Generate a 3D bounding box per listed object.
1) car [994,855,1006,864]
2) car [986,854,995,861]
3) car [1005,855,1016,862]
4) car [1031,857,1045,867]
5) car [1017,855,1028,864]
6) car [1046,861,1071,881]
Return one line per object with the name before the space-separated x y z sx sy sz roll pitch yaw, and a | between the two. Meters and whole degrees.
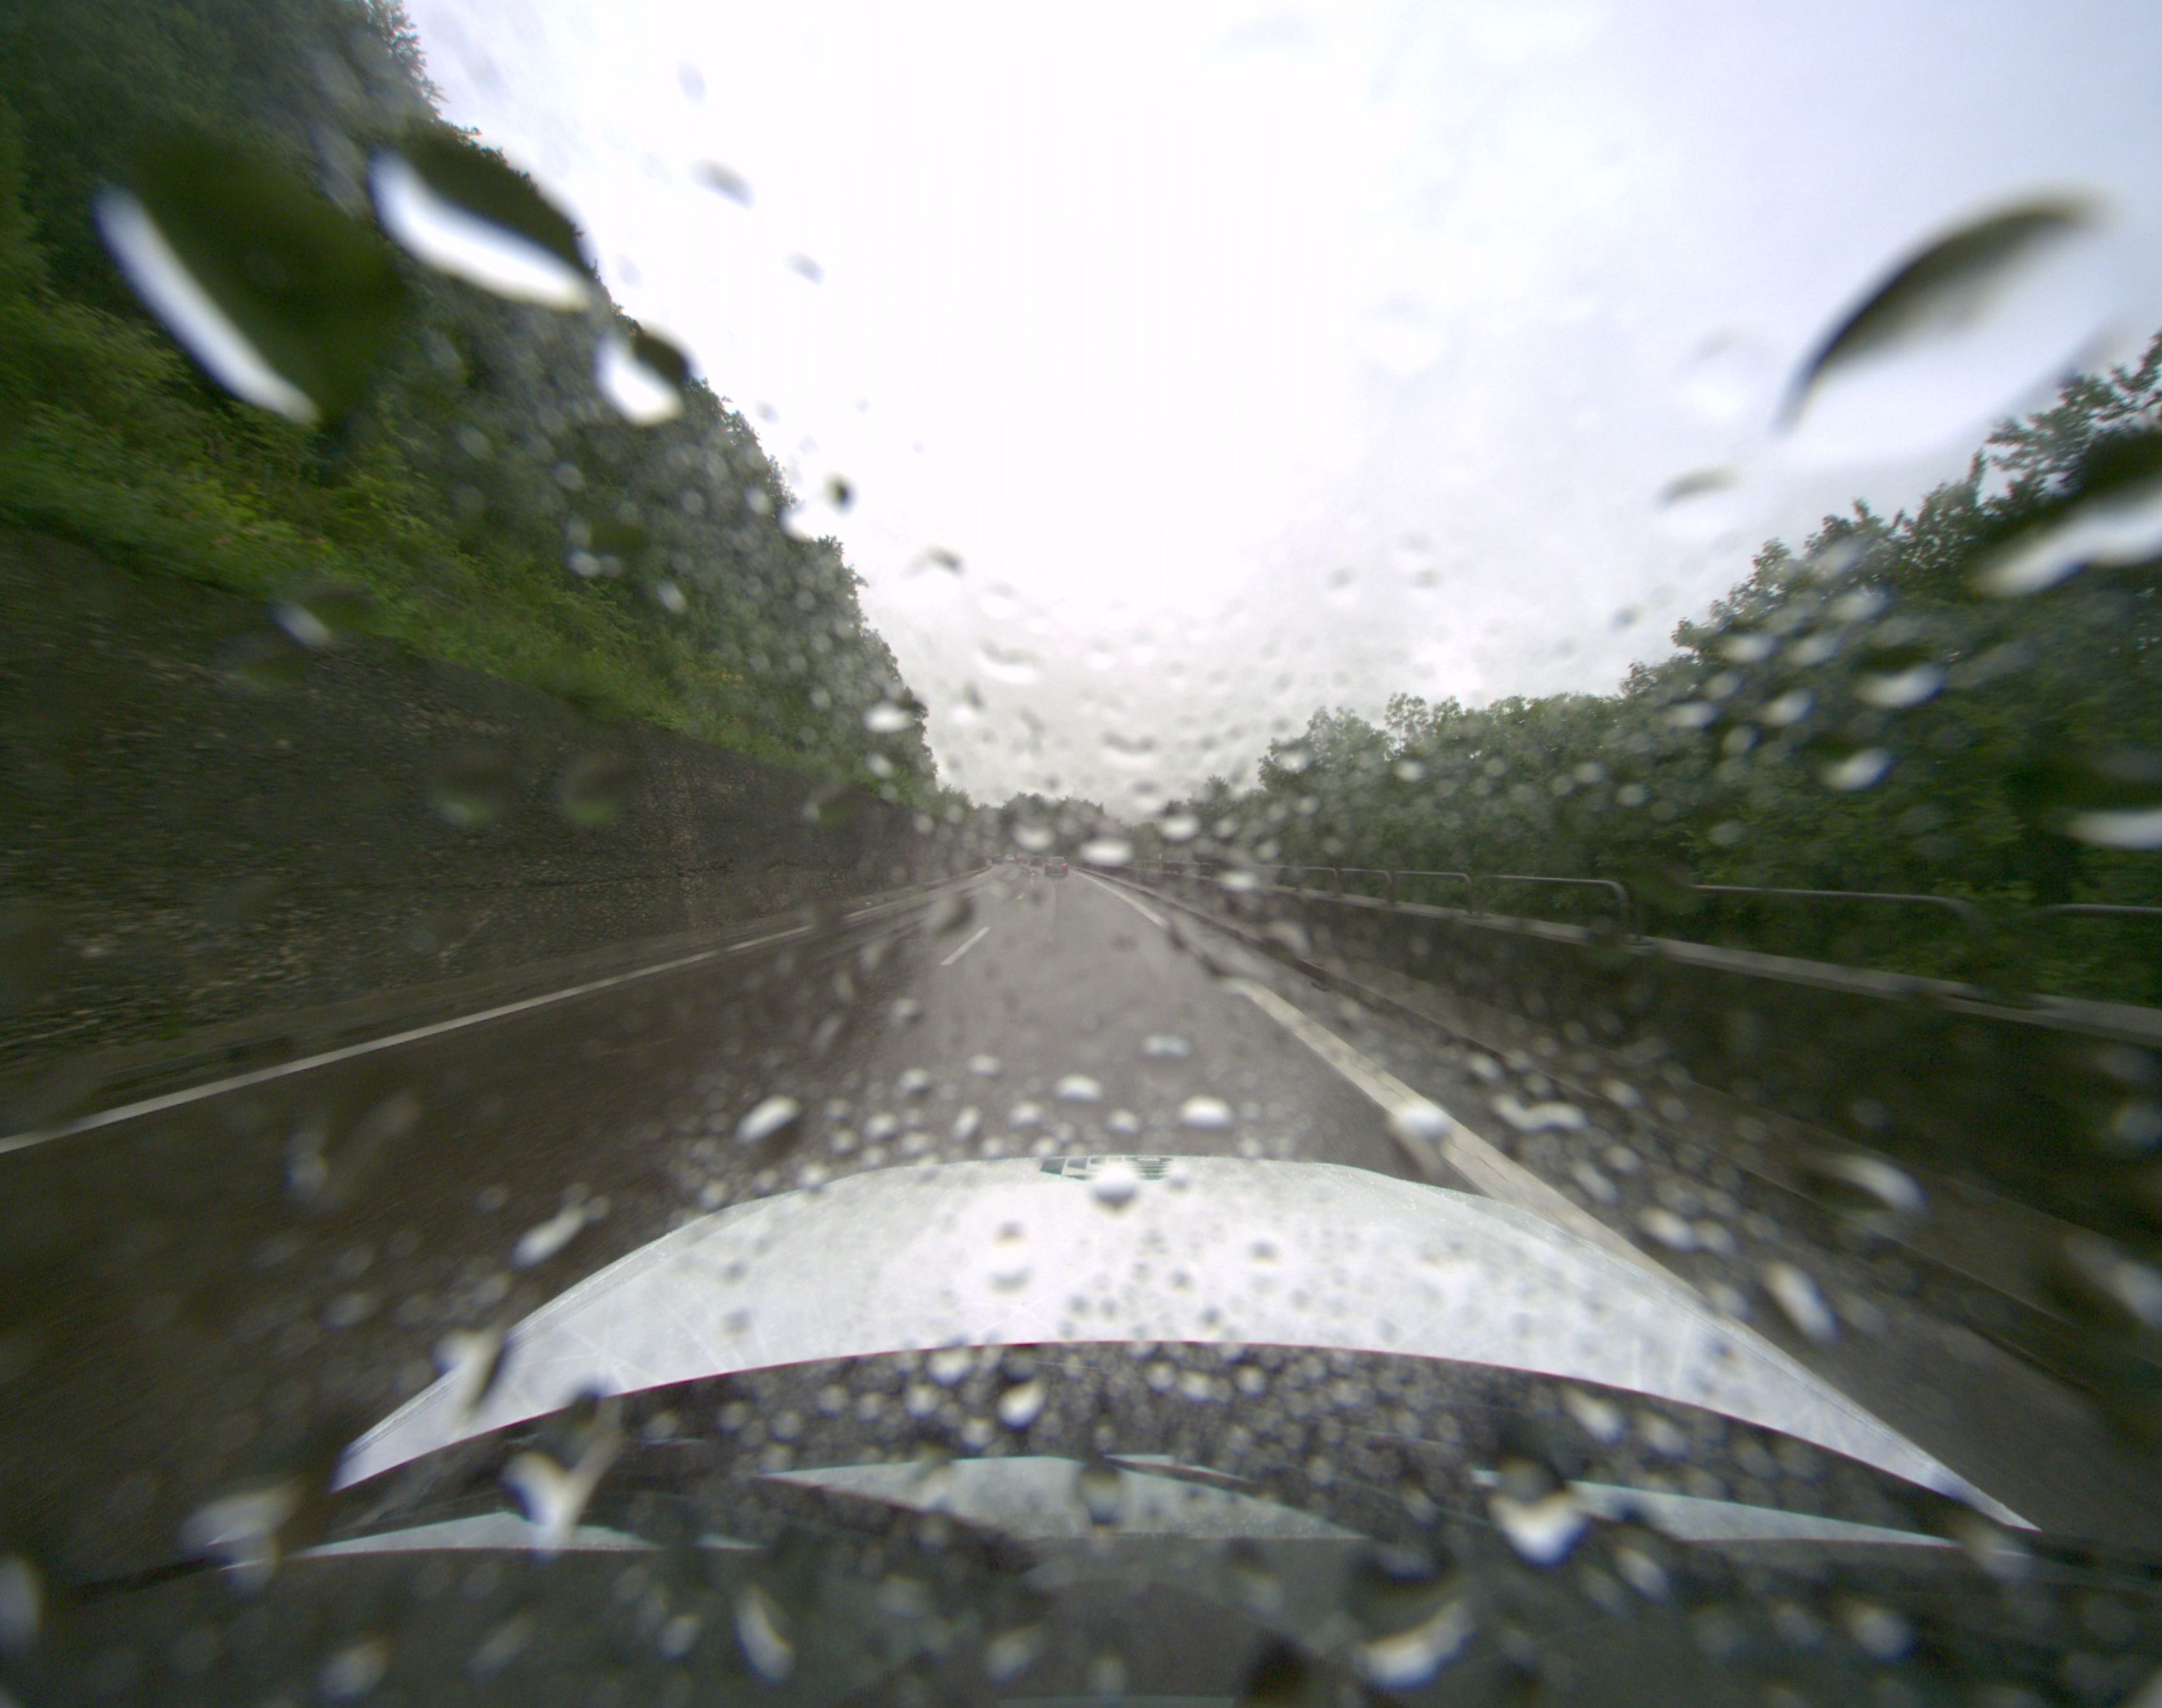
car | -14.099 0.933 141.310 1.900 1.499 3.994 0 0 -4
car | -19.018 0.710 171.038 1.901 1.499 3.992 0 0 -6
car | -13.950 0.857 160.127 1.903 1.499 3.988 0 0 -8
car | -6.121 1.113 115.625 1.901 1.499 3.993 0 0 -5
car | -10.165 0.937 142.634 1.900 1.499 3.994 0 0 -4
car | -1.822 1.310 64.581 1.899 1.499 3.996 0 0 -3
